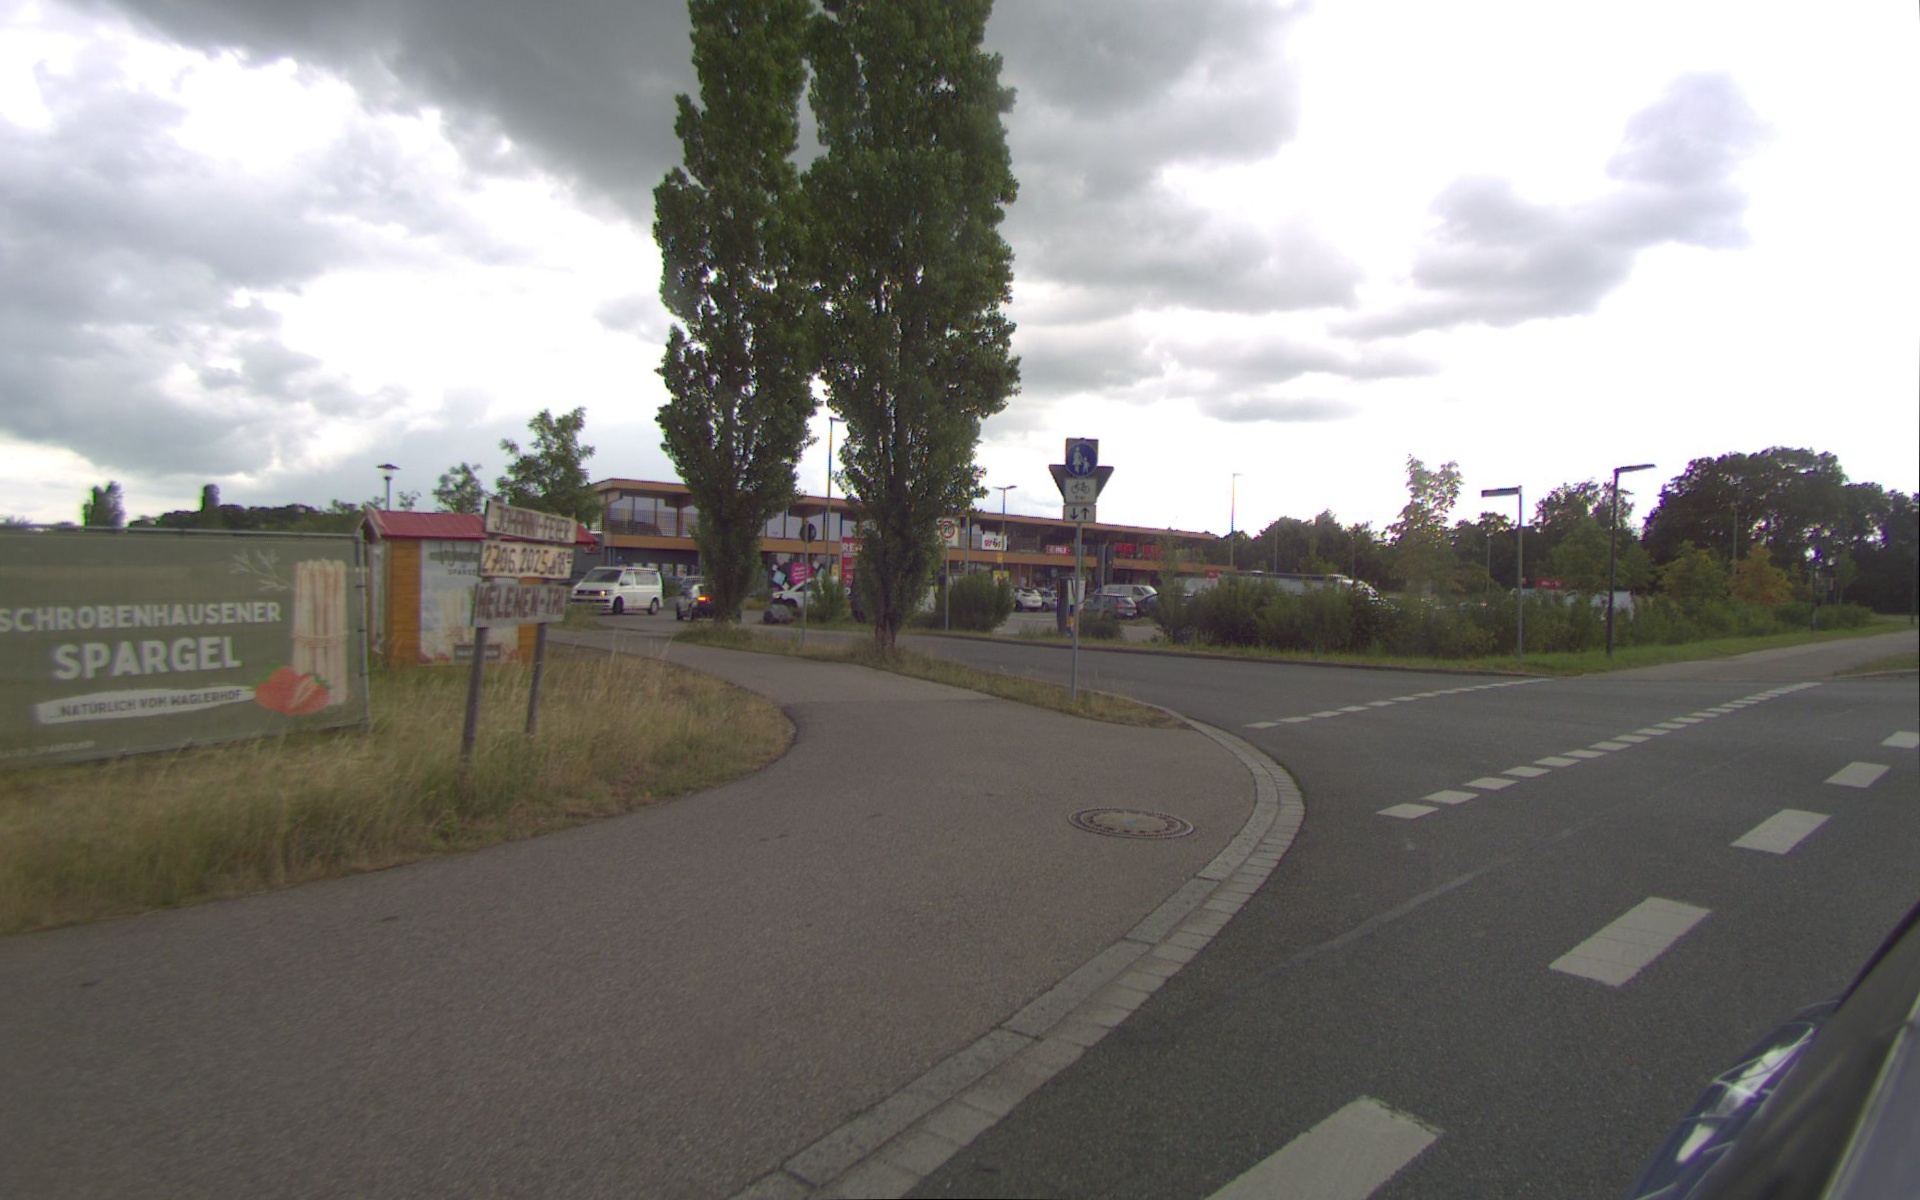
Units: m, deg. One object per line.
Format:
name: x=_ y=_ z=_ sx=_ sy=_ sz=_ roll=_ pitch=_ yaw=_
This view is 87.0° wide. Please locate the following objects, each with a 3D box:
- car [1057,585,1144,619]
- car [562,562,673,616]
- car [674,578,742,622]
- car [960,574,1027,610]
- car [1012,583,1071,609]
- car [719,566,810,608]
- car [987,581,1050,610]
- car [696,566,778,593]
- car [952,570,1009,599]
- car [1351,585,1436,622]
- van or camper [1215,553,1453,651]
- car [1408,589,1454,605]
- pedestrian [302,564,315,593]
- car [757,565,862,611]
car: x=7.178 y=0.055 z=52.024 sx=1.869 sy=1.450 sz=4.186 roll=0 pitch=3 yaw=-42
car: x=-14.199 y=-0.533 z=42.289 sx=1.970 sy=2.038 sz=5.216 roll=3 pitch=3 yaw=12
car: x=-9.268 y=-0.040 z=36.984 sx=1.793 sy=1.406 sz=4.397 roll=2 pitch=1 yaw=-22
car: x=2.062 y=-0.512 z=62.994 sx=2.004 sy=1.934 sz=3.900 roll=0 pitch=3 yaw=-42
car: x=5.410 y=-0.257 z=67.387 sx=1.761 sy=1.495 sz=3.747 roll=1 pitch=3 yaw=-40
car: x=-10.207 y=-0.683 z=52.900 sx=4.210 sy=2.038 sz=1.999 roll=0 pitch=3 yaw=-40
car: x=3.757 y=-0.305 z=65.571 sx=2.003 sy=1.627 sz=3.747 roll=1 pitch=3 yaw=-40
car: x=-12.824 y=-1.163 z=58.311 sx=4.180 sy=1.365 sz=1.837 roll=0 pitch=3 yaw=-40
car: x=1.384 y=-1.103 z=70.608 sx=1.908 sy=1.771 sz=4.002 roll=1 pitch=3 yaw=-35
car: x=26.067 y=0.175 z=60.999 sx=1.962 sy=1.893 sz=4.276 roll=1 pitch=3 yaw=-35
van or camper: x=11.290 y=-0.057 z=31.098 sx=2.242 sy=2.494 sz=6.478 roll=0 pitch=3 yaw=-42
car: x=48.118 y=-0.325 z=103.436 sx=3.916 sy=1.376 sz=1.706 roll=2 pitch=3 yaw=-13
pedestrian: x=-39.539 y=-1.306 z=61.446 sx=0.589 sy=1.783 sz=0.483 roll=1 pitch=3 yaw=-41
car: x=-7.266 y=-0.610 z=49.344 sx=4.845 sy=1.929 sz=2.112 roll=2 pitch=2 yaw=-3
